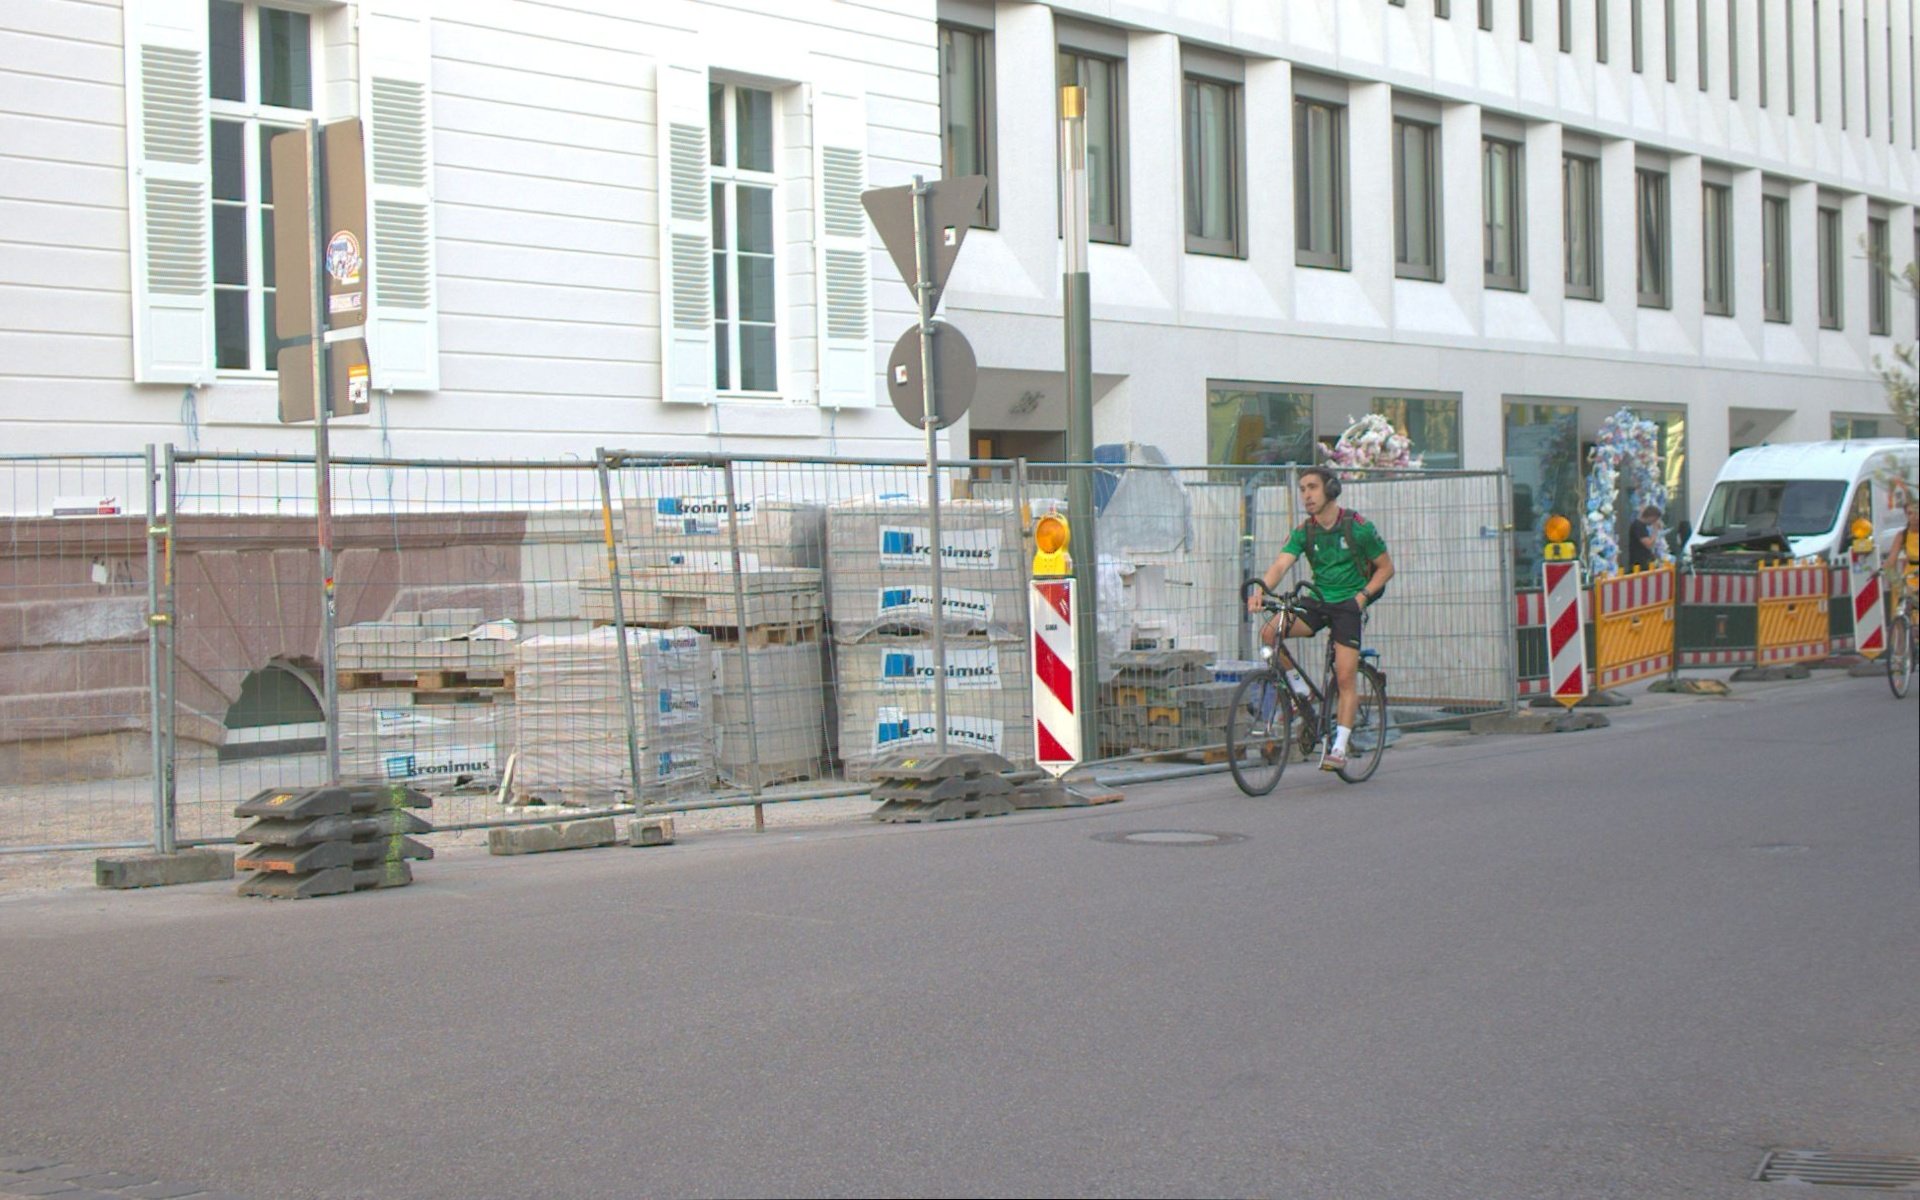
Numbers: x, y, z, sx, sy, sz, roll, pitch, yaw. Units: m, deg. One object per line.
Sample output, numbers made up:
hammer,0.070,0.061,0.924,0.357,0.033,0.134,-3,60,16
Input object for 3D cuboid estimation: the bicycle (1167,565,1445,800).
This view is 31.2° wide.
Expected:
bicycle,2.000,0.434,19.541,0.797,1.213,2.230,0,1,27

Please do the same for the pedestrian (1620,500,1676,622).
pedestrian,8.951,-0.515,44.727,0.543,1.572,0.578,-1,1,30

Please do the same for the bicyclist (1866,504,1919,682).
bicyclist,8.429,-0.071,29.983,0.797,1.527,0.973,0,1,29

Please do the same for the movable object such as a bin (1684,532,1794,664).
movable object such as a bin,8.888,-0.036,39.185,1.044,1.461,1.392,0,1,20

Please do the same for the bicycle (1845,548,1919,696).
bicycle,8.403,0.167,29.971,0.797,1.213,2.230,0,2,29

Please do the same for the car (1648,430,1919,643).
car,10.697,-0.821,42.874,2.177,2.461,5.989,0,2,32

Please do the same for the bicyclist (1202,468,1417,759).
bicyclist,1.998,0.058,19.539,0.797,1.597,1.229,0,1,27

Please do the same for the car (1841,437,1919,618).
car,14.603,-1.072,49.203,2.177,2.461,5.989,0,2,31
